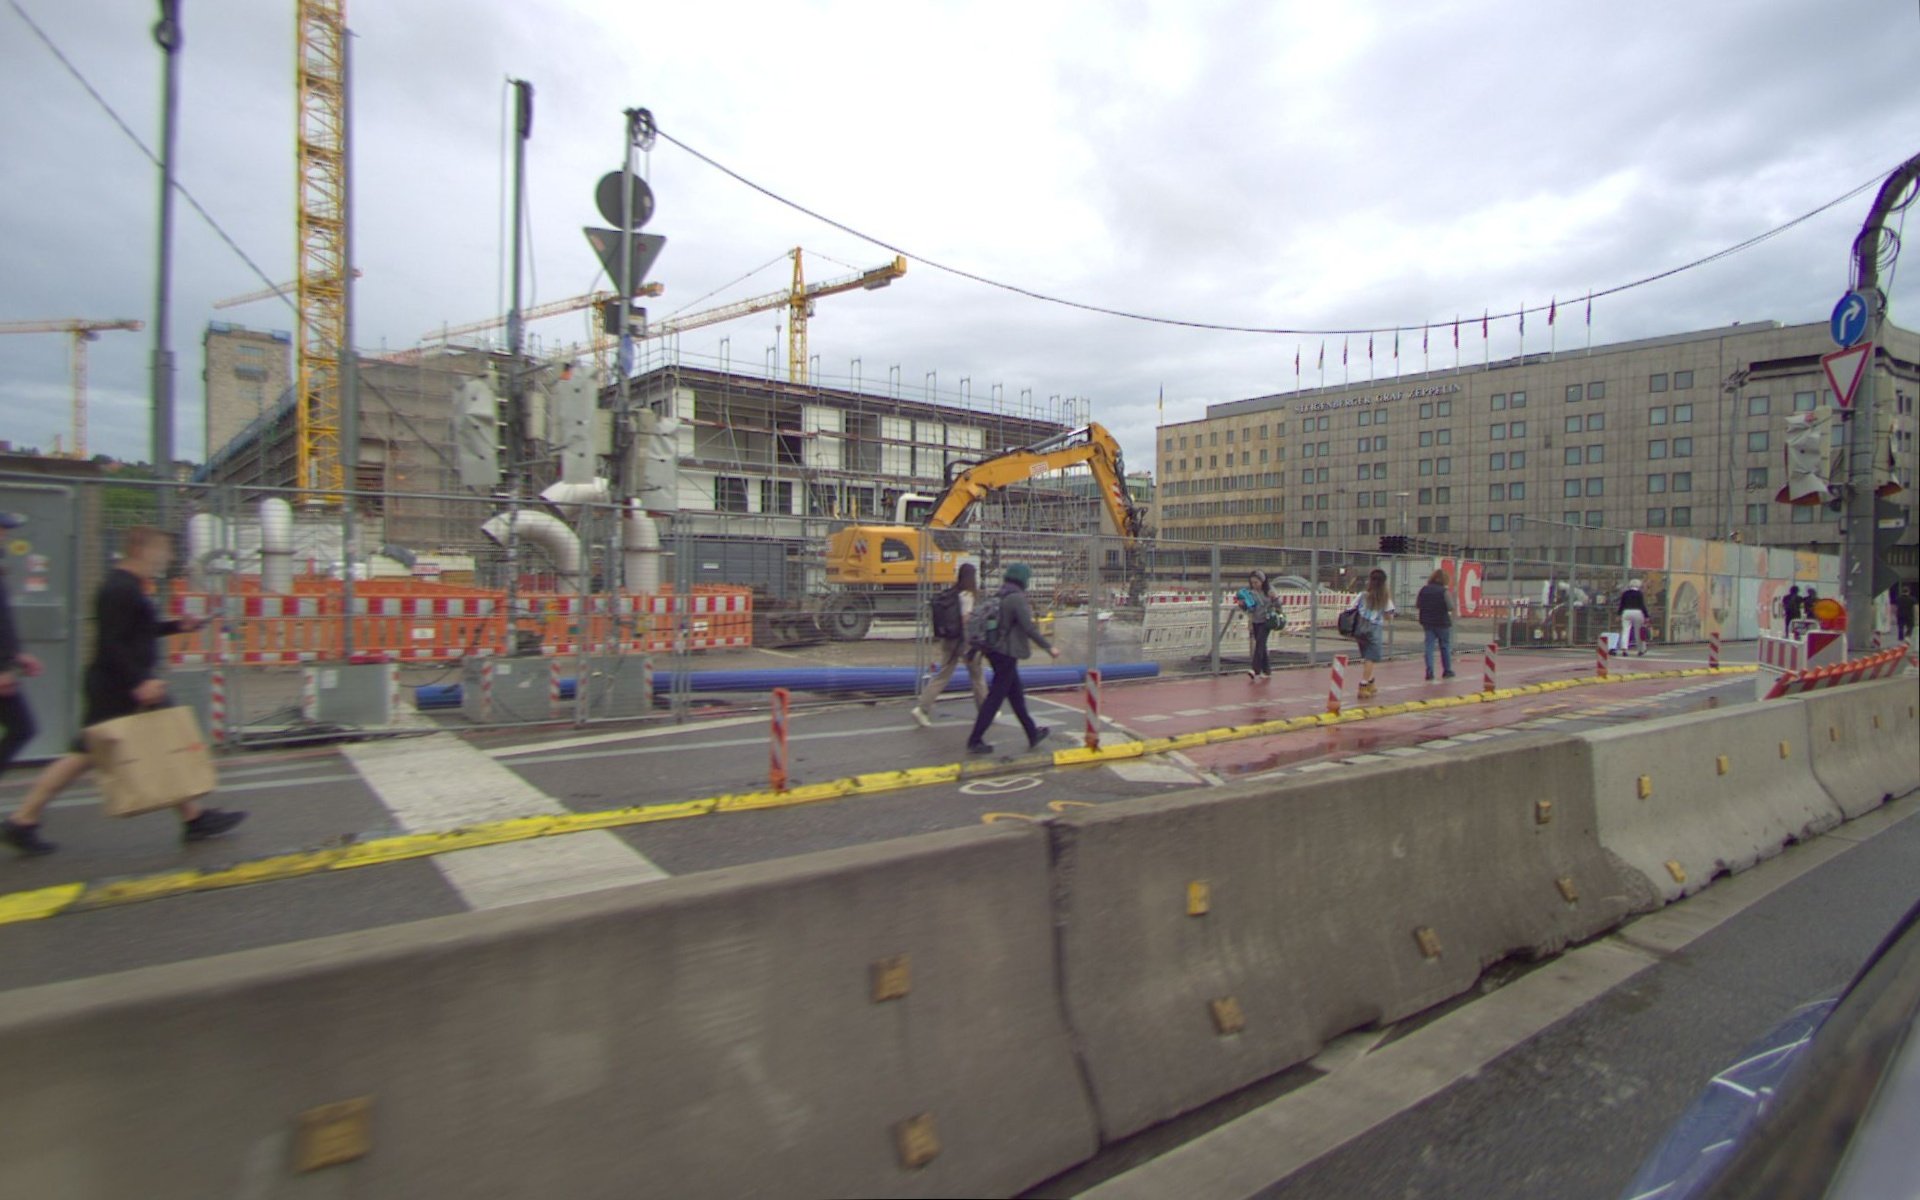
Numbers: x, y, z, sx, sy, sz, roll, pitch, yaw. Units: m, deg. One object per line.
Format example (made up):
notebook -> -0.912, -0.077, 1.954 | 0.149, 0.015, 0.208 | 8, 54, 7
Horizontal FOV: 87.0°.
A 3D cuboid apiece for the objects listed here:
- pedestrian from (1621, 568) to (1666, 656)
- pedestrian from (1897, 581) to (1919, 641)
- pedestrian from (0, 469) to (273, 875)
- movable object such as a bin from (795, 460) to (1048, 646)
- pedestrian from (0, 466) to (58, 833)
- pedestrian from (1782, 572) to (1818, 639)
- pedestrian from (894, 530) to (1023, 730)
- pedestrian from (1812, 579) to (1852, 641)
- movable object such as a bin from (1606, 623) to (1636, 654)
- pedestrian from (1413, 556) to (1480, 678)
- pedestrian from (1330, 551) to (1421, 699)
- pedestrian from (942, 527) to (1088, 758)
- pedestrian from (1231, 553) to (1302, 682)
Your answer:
pedestrian -> 14.954, 0.250, 22.141 | 0.671, 1.885, 0.665 | 0, 0, -42
pedestrian -> 30.882, 0.347, 32.671 | 0.805, 1.901, 0.798 | 0, 1, -36
pedestrian -> -4.258, 0.313, 5.230 | 1.092, 1.850, 0.821 | 0, 2, -41
movable object such as a bin -> -0.955, -0.954, 21.944 | 4.265, 3.535, 3.950 | 1, 2, -24
pedestrian -> -5.329, 0.247, 5.365 | 0.797, 1.885, 0.780 | 0, 0, -42
pedestrian -> 26.043, 0.177, 31.392 | 0.673, 2.039, 0.681 | 2, 0, -36
pedestrian -> -0.011, 0.272, 10.175 | 1.040, 1.885, 0.780 | 0, 0, -42
pedestrian -> 26.543, 0.298, 30.797 | 0.614, 1.857, 0.799 | 0, 1, -36
movable object such as a bin -> 14.393, 0.837, 22.030 | 0.525, 0.632, 0.434 | 0, 0, -42
pedestrian -> 7.748, 0.252, 16.123 | 0.797, 1.885, 0.690 | 0, 0, -42
pedestrian -> 5.540, 0.308, 13.494 | 0.933, 1.885, 0.780 | 0, 0, -42
pedestrian -> 0.483, 0.342, 8.912 | 0.932, 1.885, 0.871 | 0, 0, -42
pedestrian -> 4.653, 0.250, 15.365 | 0.671, 1.885, 0.788 | 0, 0, -42
